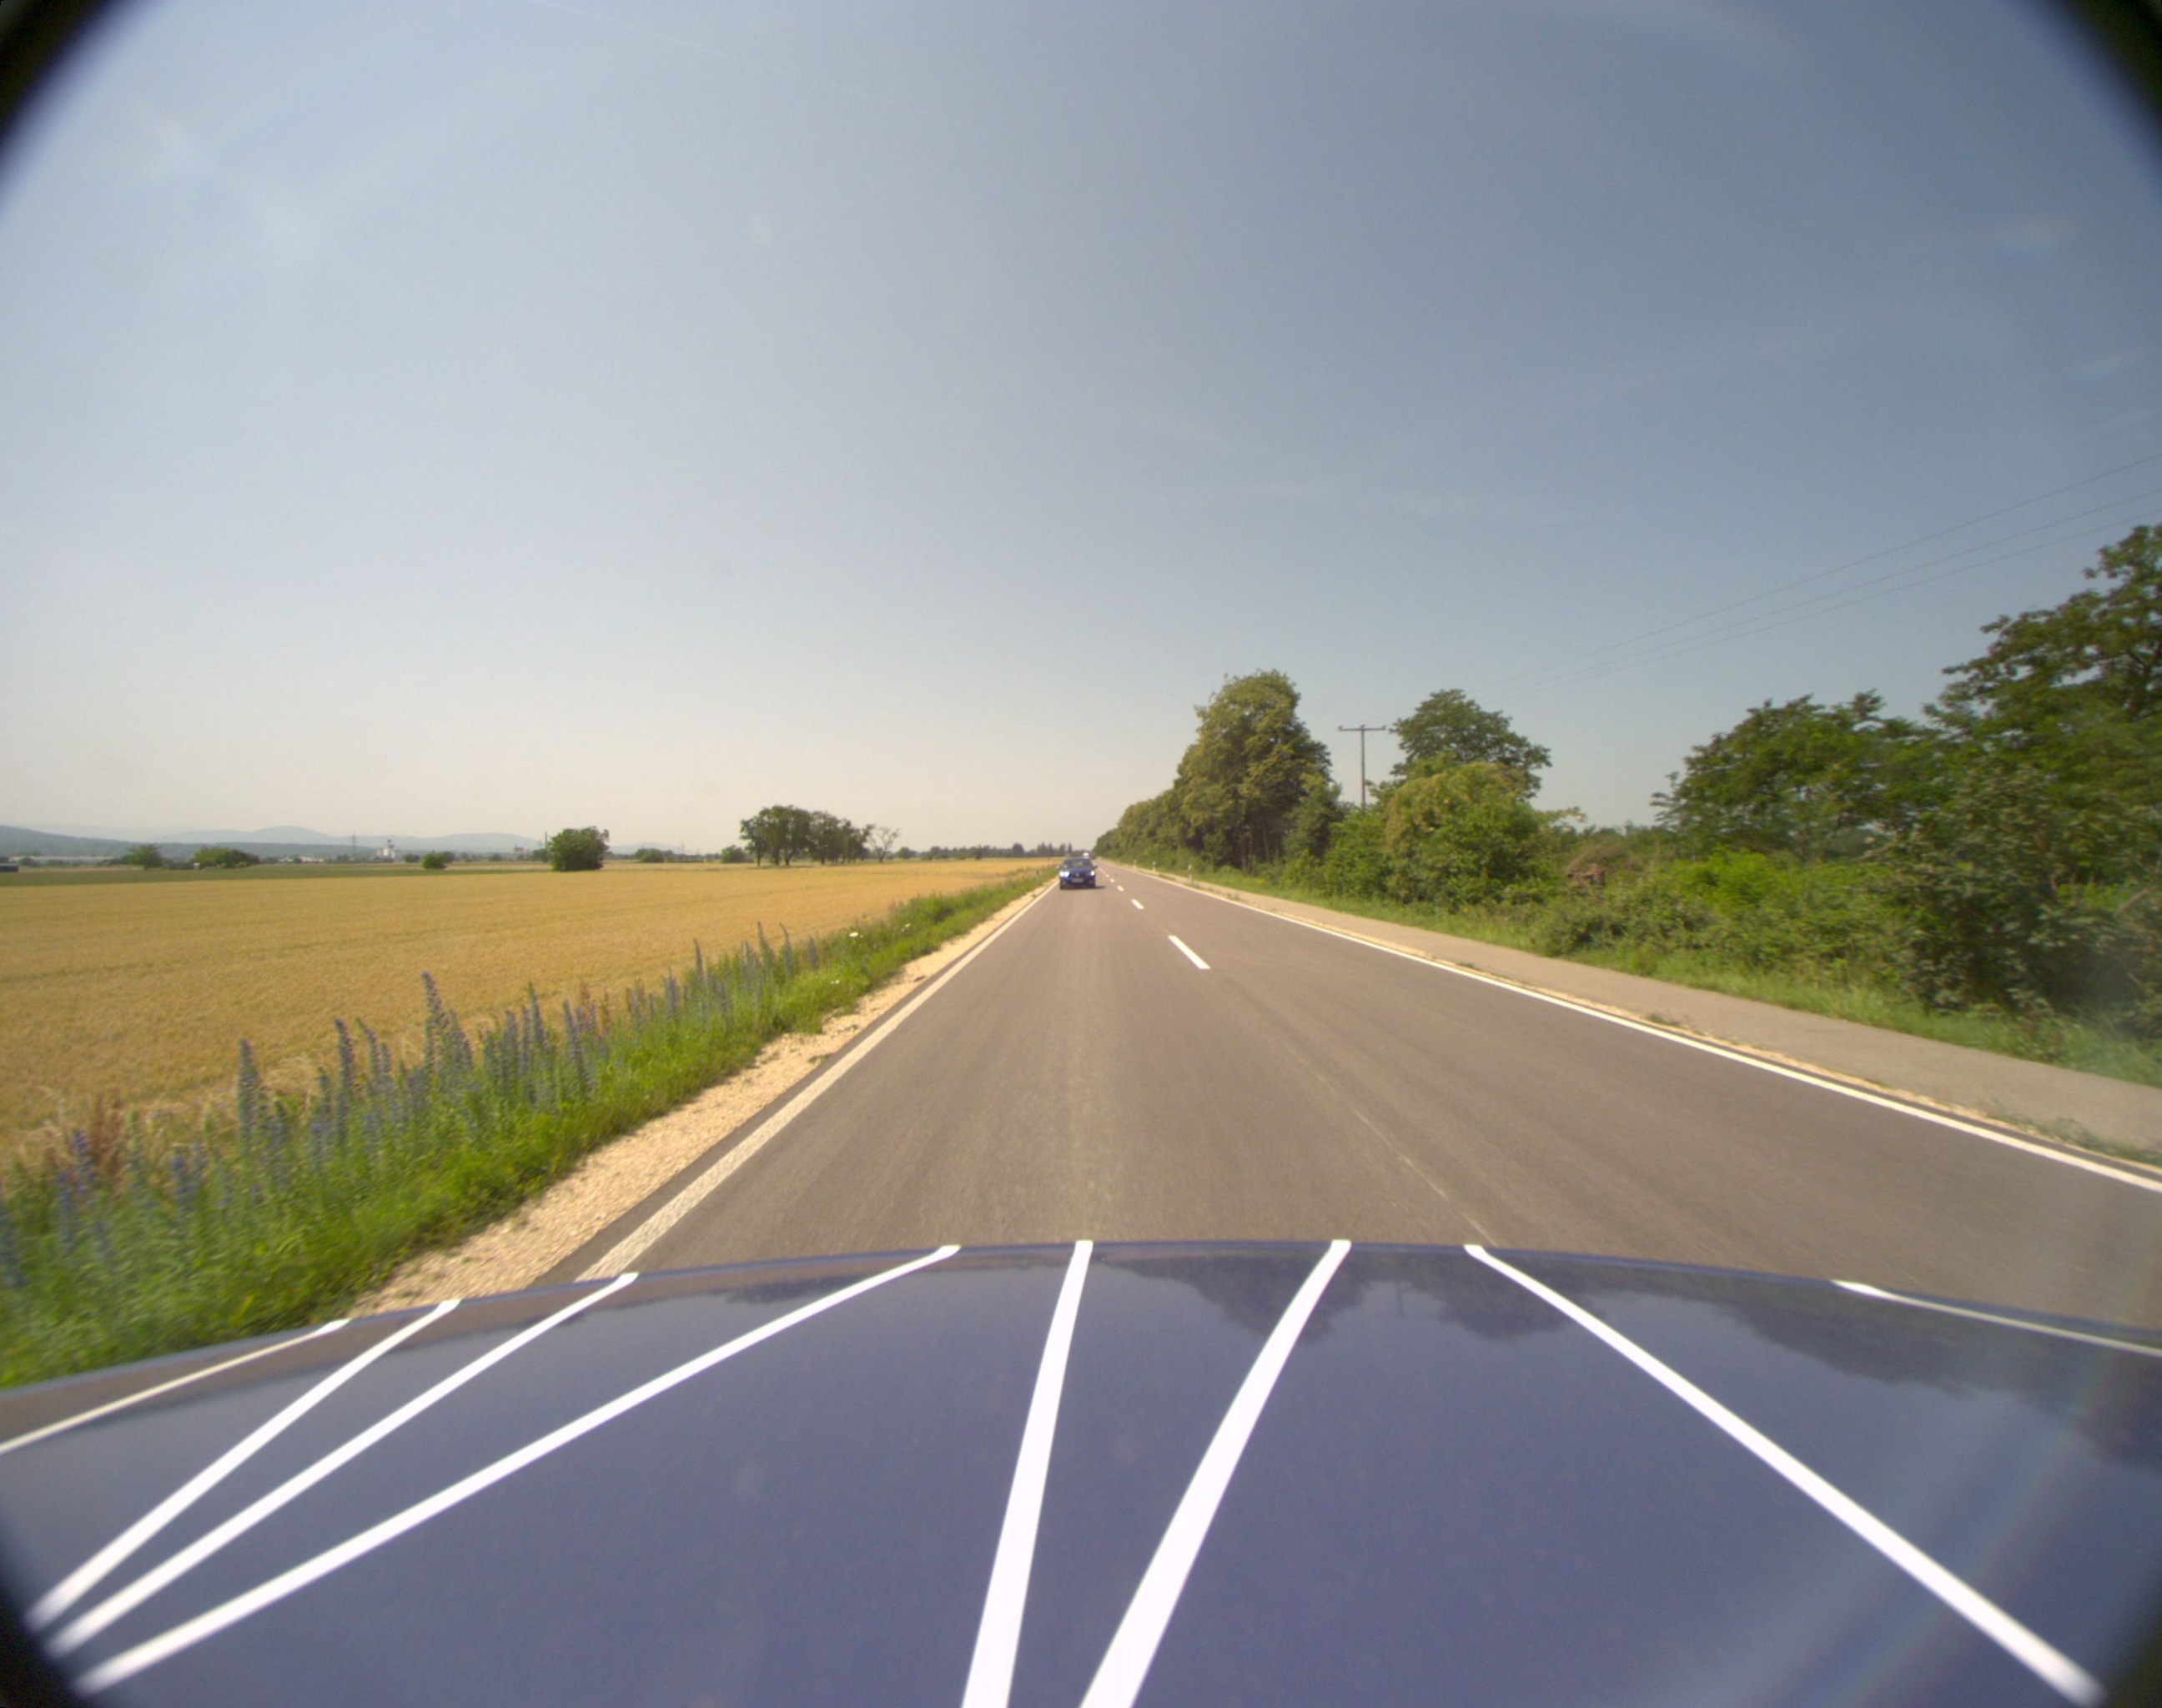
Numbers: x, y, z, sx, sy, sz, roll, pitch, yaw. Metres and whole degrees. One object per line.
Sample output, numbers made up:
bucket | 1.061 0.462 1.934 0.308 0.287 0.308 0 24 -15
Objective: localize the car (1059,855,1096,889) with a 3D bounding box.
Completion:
car | -0.158 0.861 37.673 1.662 1.508 4.000 -2 0 0
